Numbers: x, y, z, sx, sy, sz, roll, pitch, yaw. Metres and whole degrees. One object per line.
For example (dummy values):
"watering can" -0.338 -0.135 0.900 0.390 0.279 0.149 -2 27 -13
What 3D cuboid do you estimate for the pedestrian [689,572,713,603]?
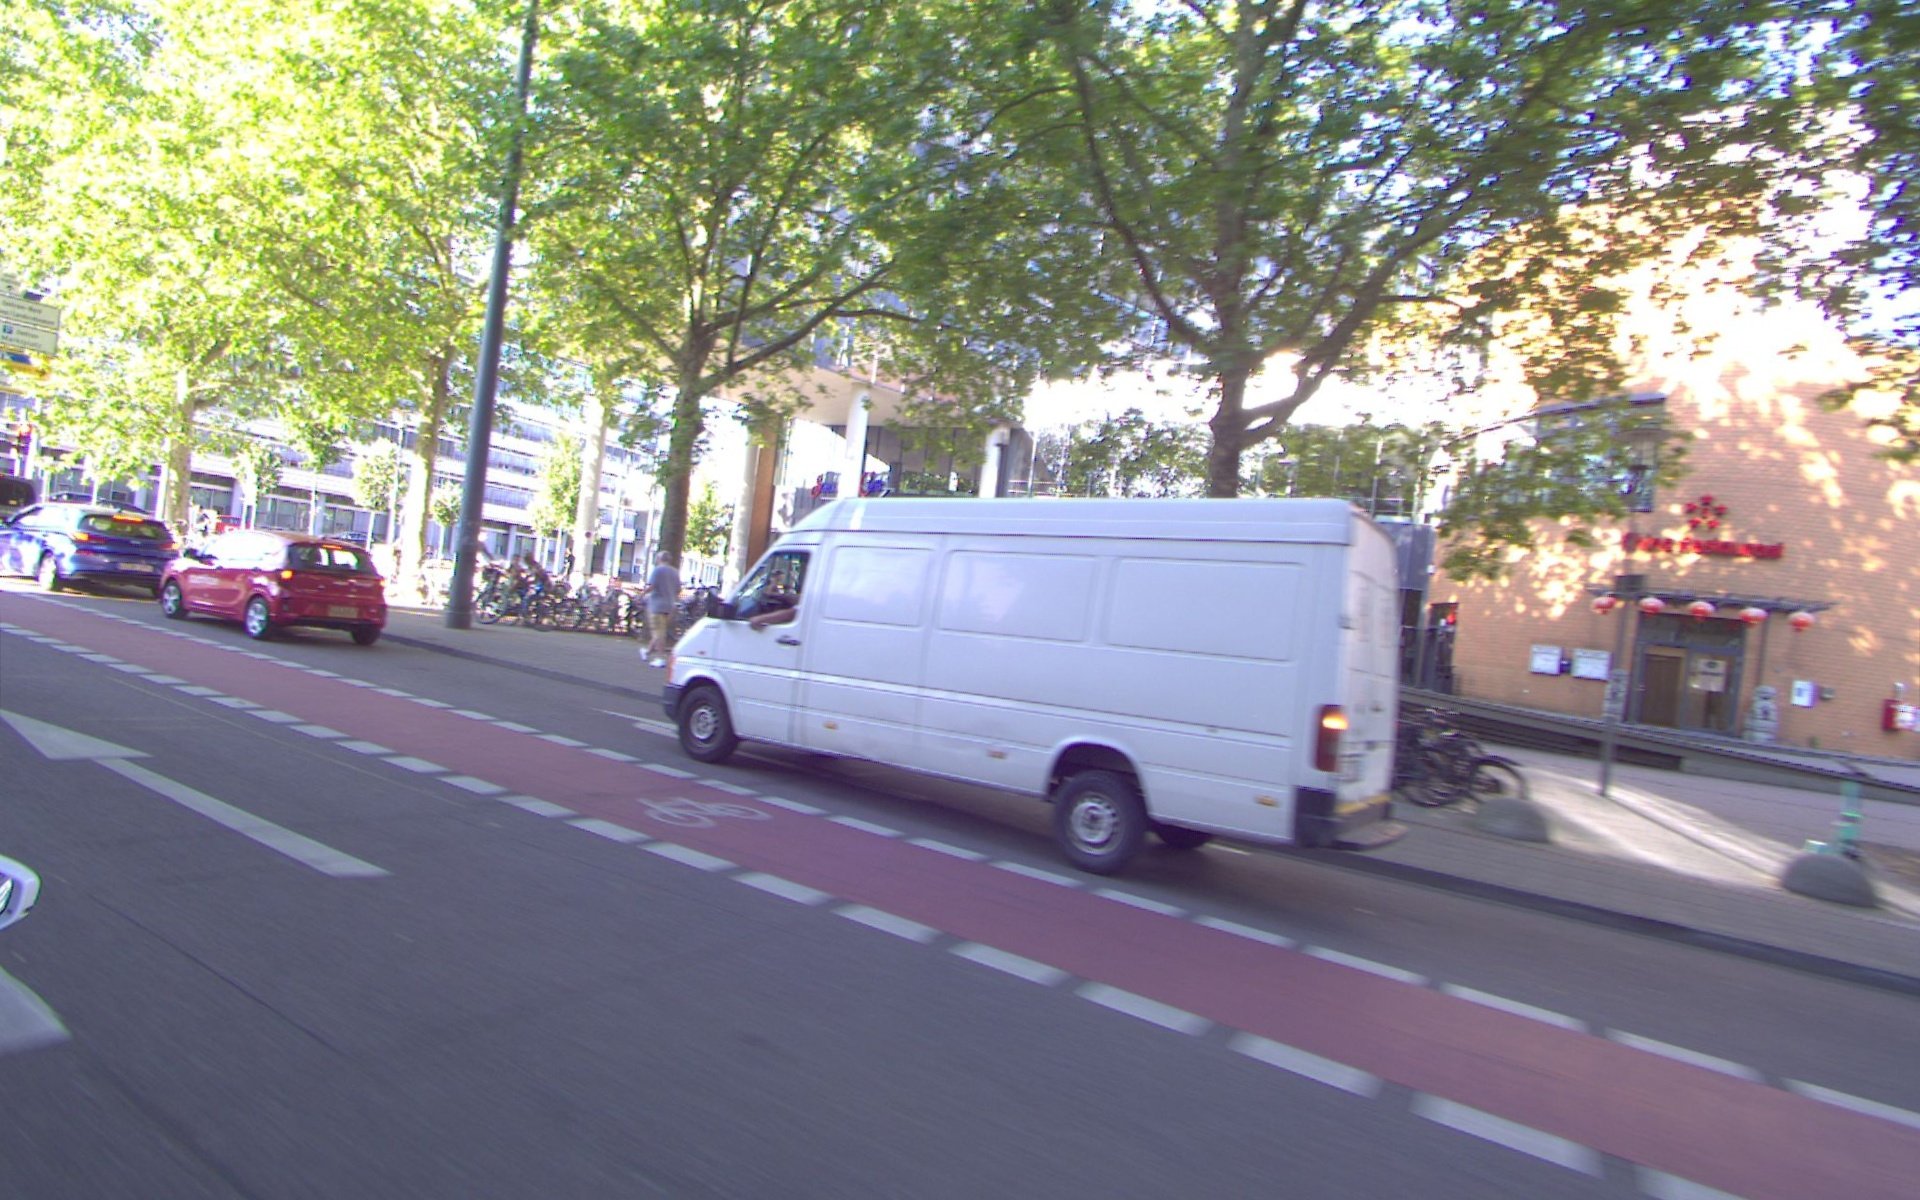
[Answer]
"pedestrian" -13.236 -0.628 51.430 0.763 1.460 0.705 7 1 32

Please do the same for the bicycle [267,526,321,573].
"bicycle" -20.970 -1.599 31.663 1.854 1.303 0.451 7 1 27

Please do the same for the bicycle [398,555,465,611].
"bicycle" -11.903 -0.391 22.650 1.547 1.070 0.628 7 1 35

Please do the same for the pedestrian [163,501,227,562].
"pedestrian" -26.434 -2.359 34.777 1.023 1.843 1.213 7 -1 23

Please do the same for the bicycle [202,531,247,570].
"bicycle" -21.743 -1.469 29.736 1.451 0.991 0.421 7 1 27

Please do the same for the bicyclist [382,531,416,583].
"bicyclist" -19.040 -1.454 34.137 0.809 1.636 0.562 7 1 35

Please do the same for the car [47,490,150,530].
"car" -50.794 -5.300 59.393 1.767 1.621 4.243 7 0 34

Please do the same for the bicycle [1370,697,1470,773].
"bicycle" 7.116 2.079 15.610 1.257 0.958 0.416 7 1 14

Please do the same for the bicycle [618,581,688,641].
"bicycle" -6.982 0.245 22.877 1.449 1.174 0.422 7 1 21

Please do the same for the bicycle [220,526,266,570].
"bicycle" -21.582 -1.575 30.277 1.451 1.159 0.451 7 1 27

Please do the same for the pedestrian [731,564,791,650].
"pedestrian" -4.403 0.156 22.249 0.758 1.779 0.818 7 1 34

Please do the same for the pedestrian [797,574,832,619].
"pedestrian" -5.842 -0.142 40.415 0.850 1.661 0.967 7 1 26

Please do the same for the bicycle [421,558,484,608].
"bicycle" -12.560 -0.429 24.873 1.544 1.038 0.461 7 1 26

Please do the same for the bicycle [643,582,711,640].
"bicycle" -6.679 0.257 23.745 1.449 1.174 0.422 7 1 21

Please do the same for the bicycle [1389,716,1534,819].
"bicycle" 6.058 1.998 12.191 1.452 0.958 0.407 7 1 29

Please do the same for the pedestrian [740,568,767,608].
"pedestrian" -9.201 -0.530 44.798 0.694 1.661 0.775 7 1 24

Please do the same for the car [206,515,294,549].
"car" -46.214 -4.429 65.565 1.767 1.579 4.243 7 0 34

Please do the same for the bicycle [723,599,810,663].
"bicycle" -3.796 0.604 19.648 1.626 1.044 0.503 7 1 29

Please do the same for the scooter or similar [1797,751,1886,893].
"scooter or similar" 8.907 2.206 10.194 0.405 1.239 1.208 7 0 34

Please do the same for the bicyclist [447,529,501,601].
"bicyclist" -12.972 -0.922 26.858 0.836 1.790 0.752 7 1 19

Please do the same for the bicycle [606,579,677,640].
"bicycle" -7.103 0.209 22.419 1.449 1.174 0.422 7 1 21

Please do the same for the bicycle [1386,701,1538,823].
"bicycle" 5.848 1.863 11.763 1.452 1.134 0.407 7 1 29

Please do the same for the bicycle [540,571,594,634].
"bicycle" -8.097 0.034 20.681 0.591 1.130 1.810 6 0 -33

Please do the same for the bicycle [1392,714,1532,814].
"bicycle" 6.270 2.024 12.596 1.452 0.958 0.407 7 1 29

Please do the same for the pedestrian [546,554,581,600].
"pedestrian" -15.995 -0.929 40.614 0.851 1.701 0.849 7 -1 3

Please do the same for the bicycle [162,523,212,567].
"bicycle" -22.265 -1.588 28.965 1.451 1.107 0.490 7 1 27

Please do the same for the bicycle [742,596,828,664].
"bicycle" -3.510 0.594 20.136 1.626 1.151 0.503 7 1 29

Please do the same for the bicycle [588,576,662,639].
"bicycle" -7.303 0.162 21.952 1.449 1.174 0.479 7 1 21

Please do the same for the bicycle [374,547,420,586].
"bicycle" -19.153 -1.140 34.198 1.750 1.140 0.566 7 1 36

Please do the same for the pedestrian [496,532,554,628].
"pedestrian" -8.773 -0.404 20.294 0.801 1.808 0.651 6 1 -35

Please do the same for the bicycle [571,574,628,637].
"bicycle" -7.558 0.095 21.044 0.602 1.130 1.810 6 0 -33

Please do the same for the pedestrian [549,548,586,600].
"pedestrian" -15.093 -0.976 38.732 0.851 1.841 0.849 7 -1 1

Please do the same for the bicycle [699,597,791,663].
"bicycle" -4.085 0.560 19.083 1.626 1.044 0.596 7 1 29

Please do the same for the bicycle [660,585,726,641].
"bicycle" -6.444 0.323 24.283 1.449 1.174 0.422 7 1 21

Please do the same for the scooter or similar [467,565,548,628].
"scooter or similar" -9.806 -0.069 21.841 0.899 1.154 1.260 5 -4 15

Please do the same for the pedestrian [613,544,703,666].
"pedestrian" -4.783 0.100 15.956 0.794 1.808 0.873 7 1 27

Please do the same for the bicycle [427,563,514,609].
"bicycle" -13.075 -0.379 26.875 2.143 0.945 0.668 7 0 18

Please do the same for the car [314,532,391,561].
"car" -42.730 -3.721 70.864 1.768 1.409 4.241 7 0 36

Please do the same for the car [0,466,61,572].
"car" -21.255 -1.920 21.003 5.049 1.988 1.999 7 -2 29

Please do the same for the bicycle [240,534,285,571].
"bicycle" -21.435 -1.464 30.917 1.451 0.995 0.451 7 1 27

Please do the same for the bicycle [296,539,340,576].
"bicycle" -20.581 -1.363 32.224 1.451 0.995 0.451 7 1 27

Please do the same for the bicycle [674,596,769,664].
"bicycle" -4.381 0.543 18.458 1.626 1.044 0.596 7 1 29

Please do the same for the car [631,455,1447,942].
"car" 0.256 0.406 8.476 6.457 2.756 1.996 7 -1 35

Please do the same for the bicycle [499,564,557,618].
"bicycle" -10.660 -0.226 24.785 1.451 1.174 0.421 7 1 30

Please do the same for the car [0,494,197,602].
"car" -15.665 -0.969 17.815 4.144 1.482 1.768 7 0 28

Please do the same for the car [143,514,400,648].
"car" -10.148 -0.285 14.799 3.559 1.481 1.562 7 -1 29

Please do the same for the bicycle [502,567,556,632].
"bicycle" -8.715 -0.035 20.303 0.591 1.130 1.932 6 0 -33

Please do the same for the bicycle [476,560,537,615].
"bicycle" -10.927 -0.307 24.231 1.451 1.174 0.421 7 1 27

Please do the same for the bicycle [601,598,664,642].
"bicycle" -6.717 0.417 20.629 1.101 0.770 0.396 7 0 -34

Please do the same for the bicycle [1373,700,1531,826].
"bicycle" 5.499 1.797 11.288 1.452 1.134 0.407 7 1 29

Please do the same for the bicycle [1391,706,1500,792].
"bicycle" 6.769 2.056 14.046 1.259 0.958 0.407 7 1 29

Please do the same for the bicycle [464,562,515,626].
"bicycle" -9.488 -0.140 20.263 0.591 1.130 1.810 6 0 -33

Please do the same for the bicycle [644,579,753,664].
"bicycle" -4.657 0.373 17.877 1.844 1.280 0.596 7 1 29

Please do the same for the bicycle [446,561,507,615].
"bicycle" -11.294 -0.279 23.486 1.451 1.095 0.421 7 1 27
